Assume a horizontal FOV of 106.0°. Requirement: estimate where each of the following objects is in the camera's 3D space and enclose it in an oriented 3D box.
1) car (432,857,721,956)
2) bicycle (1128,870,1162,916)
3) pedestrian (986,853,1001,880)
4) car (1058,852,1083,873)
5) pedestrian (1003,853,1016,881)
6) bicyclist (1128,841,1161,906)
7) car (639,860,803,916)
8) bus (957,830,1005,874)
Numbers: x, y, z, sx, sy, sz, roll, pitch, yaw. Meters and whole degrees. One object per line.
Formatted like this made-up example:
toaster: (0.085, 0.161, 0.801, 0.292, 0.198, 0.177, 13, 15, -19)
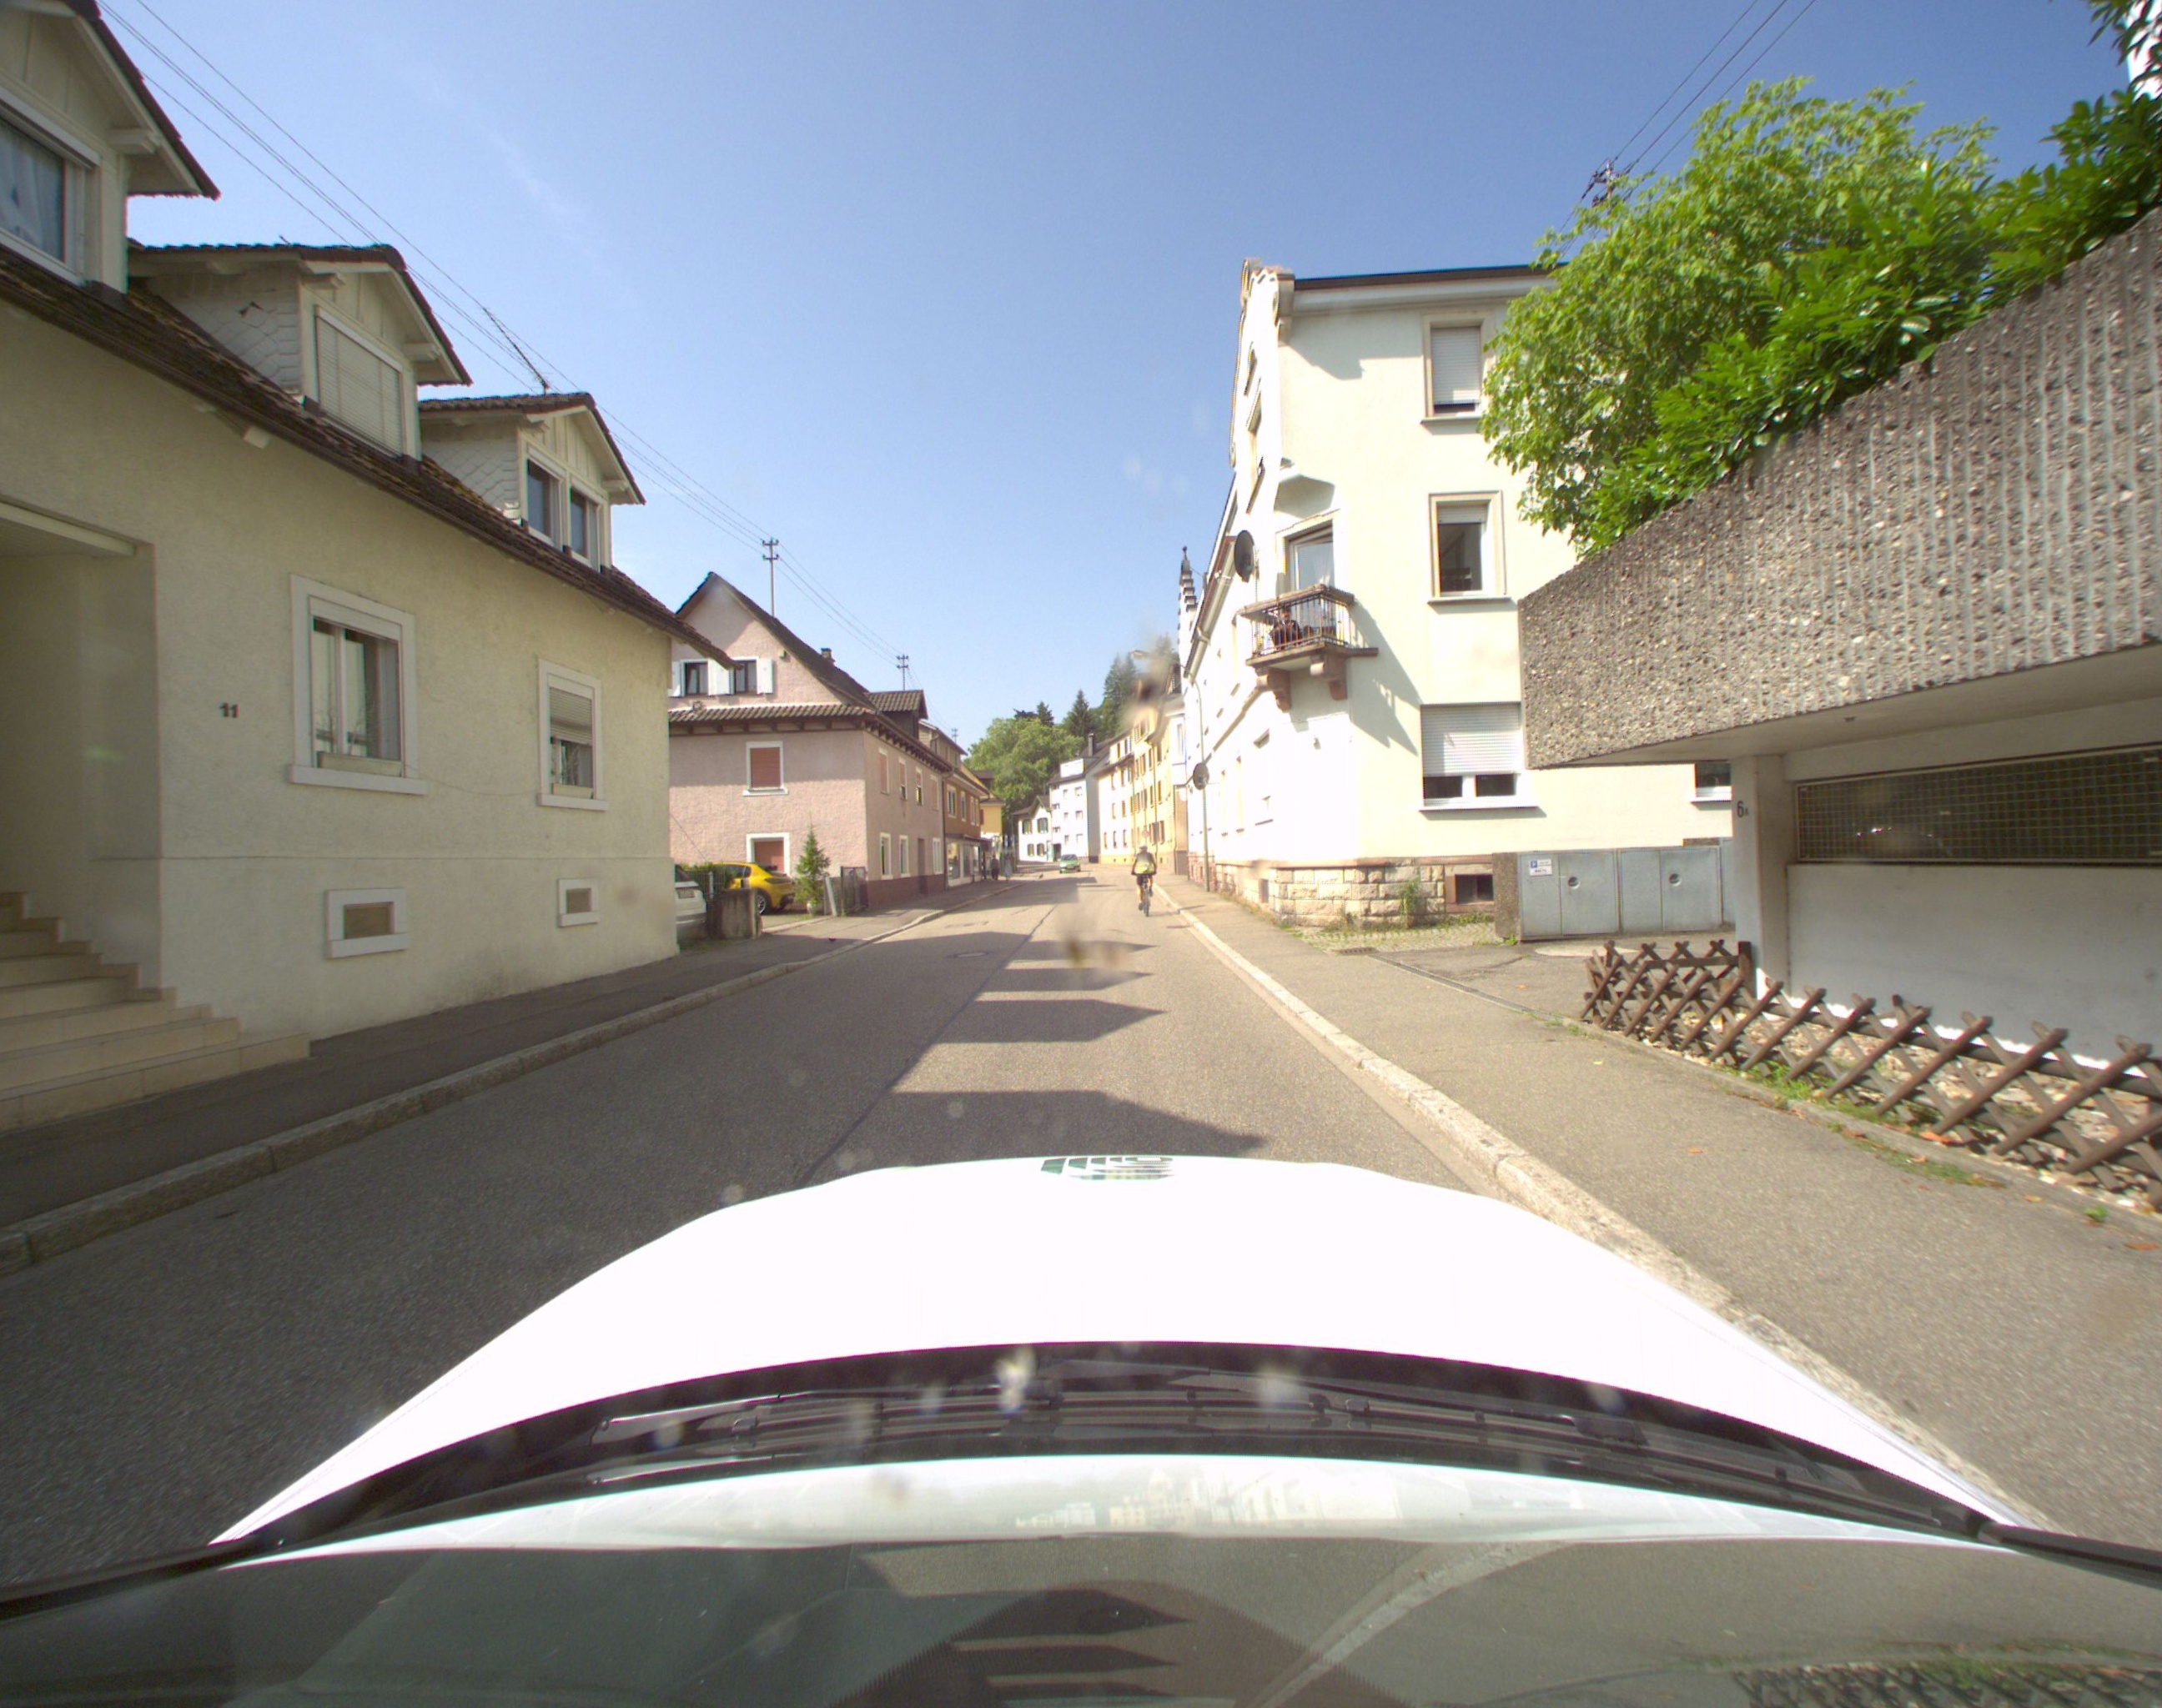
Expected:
car: (-8.941, 0.895, 14.715, 3.976, 1.594, 1.906, -1, 0, -2)
bicycle: (1.555, 0.943, 20.058, 0.696, 1.035, 1.471, -1, 0, 0)
pedestrian: (-5.207, 0.750, 48.536, 0.732, 1.564, 0.825, 1, 0, 2)
car: (-0.782, 0.634, 63.473, 1.590, 1.464, 3.661, -5, 0, 2)
pedestrian: (-4.278, 0.777, 48.582, 0.637, 1.626, 0.777, 1, 0, 2)
bicyclist: (1.560, 0.476, 20.024, 0.683, 1.531, 0.715, -3, 0, 0)
car: (-9.824, 0.903, 22.447, 3.740, 1.392, 1.645, -1, 1, -2)
bus: (-7.733, -0.144, 64.202, 2.812, 3.228, 9.030, 0, 0, -1)
